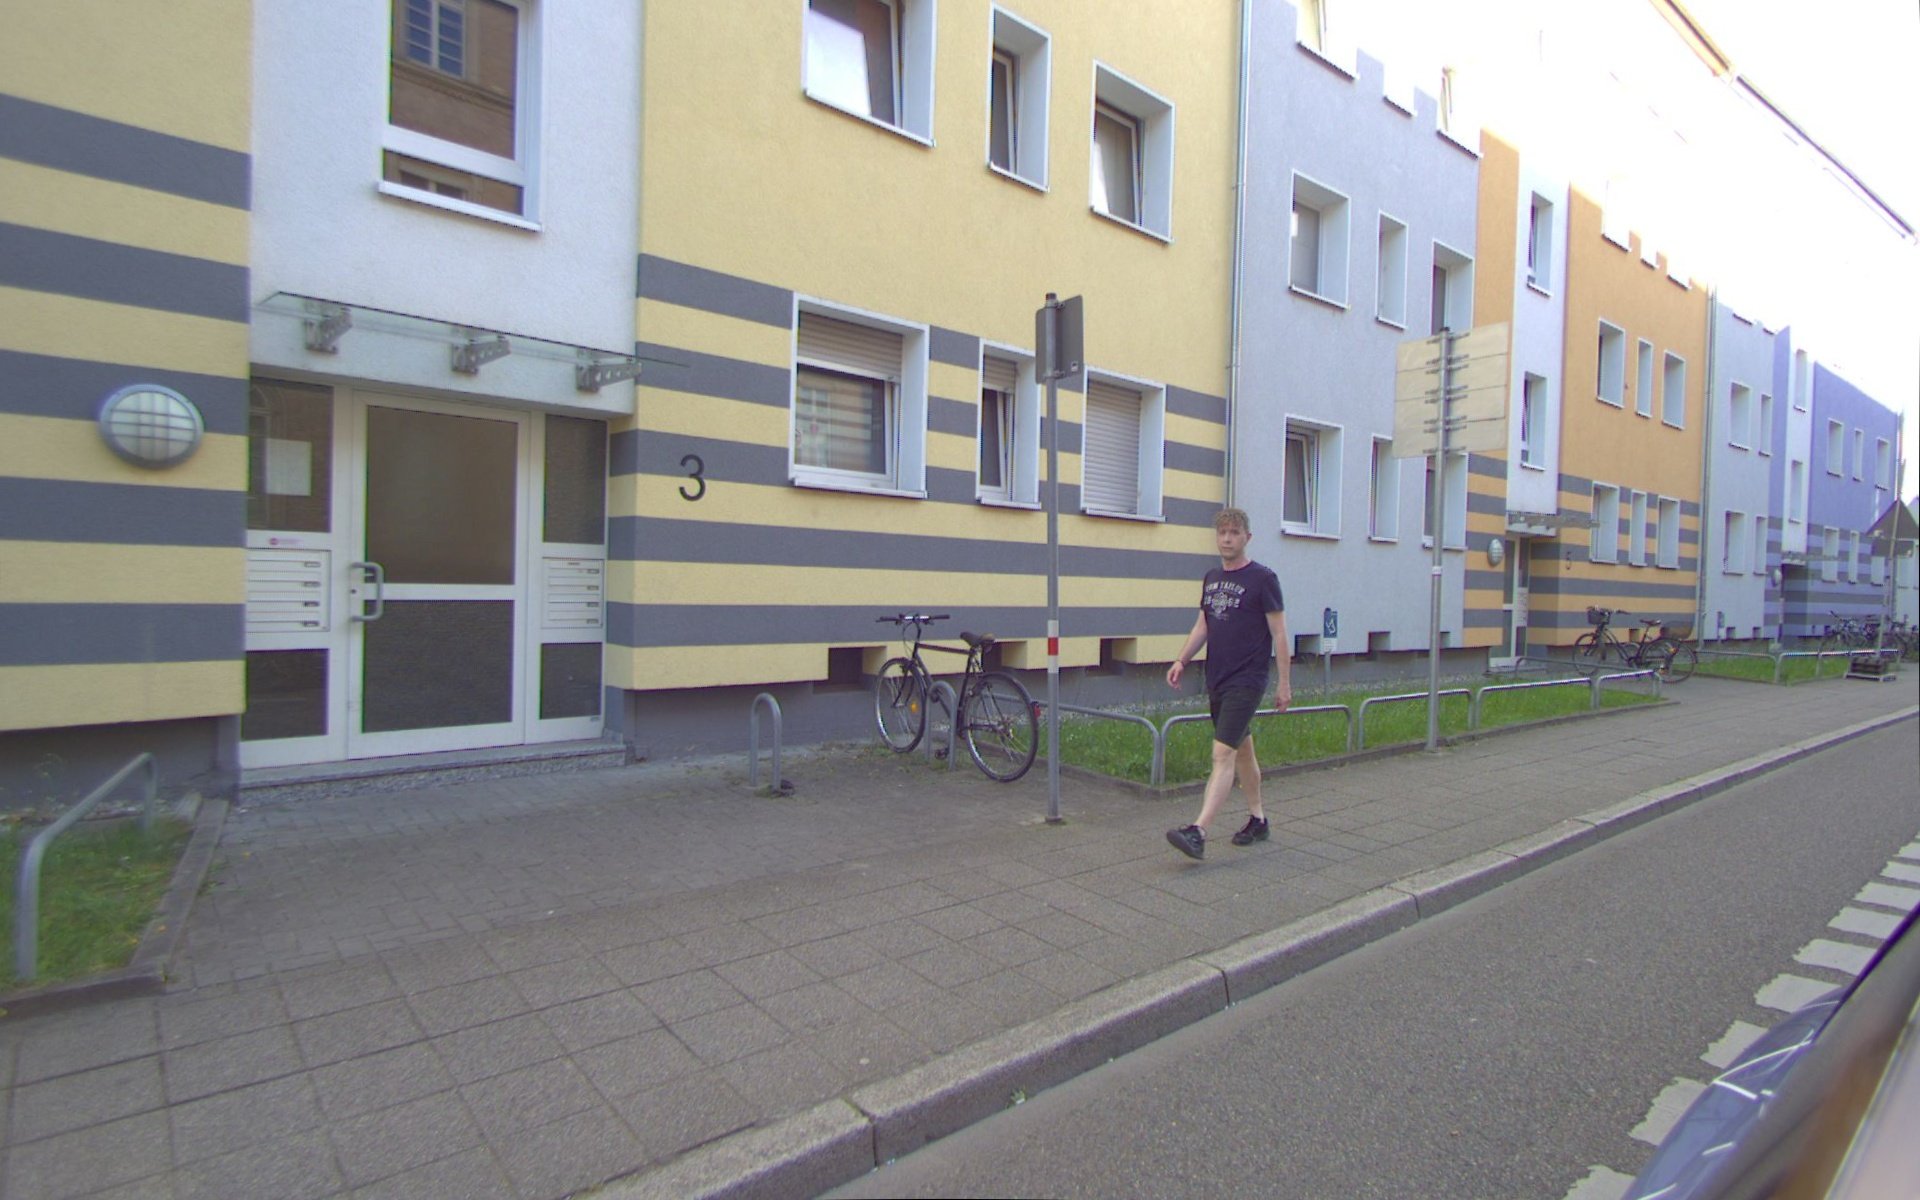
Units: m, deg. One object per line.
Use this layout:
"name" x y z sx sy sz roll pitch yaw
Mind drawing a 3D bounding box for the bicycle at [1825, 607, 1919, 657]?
"bicycle" 22.295 0.764 24.686 0.624 1.058 1.711 1 2 -39

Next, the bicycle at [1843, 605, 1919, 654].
"bicycle" 23.264 0.735 25.281 0.625 1.095 1.711 1 2 -40

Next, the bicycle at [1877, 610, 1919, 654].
"bicycle" 24.182 0.826 25.355 0.625 1.048 1.709 1 3 -42

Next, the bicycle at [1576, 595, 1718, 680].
"bicycle" 10.754 0.558 15.882 0.625 1.173 1.709 1 3 -42

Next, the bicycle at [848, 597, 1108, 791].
"bicycle" 0.058 0.569 7.065 0.625 1.074 1.946 1 3 -42

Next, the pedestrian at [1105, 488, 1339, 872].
"pedestrian" 1.362 0.358 5.270 0.898 1.810 0.646 1 4 -38
